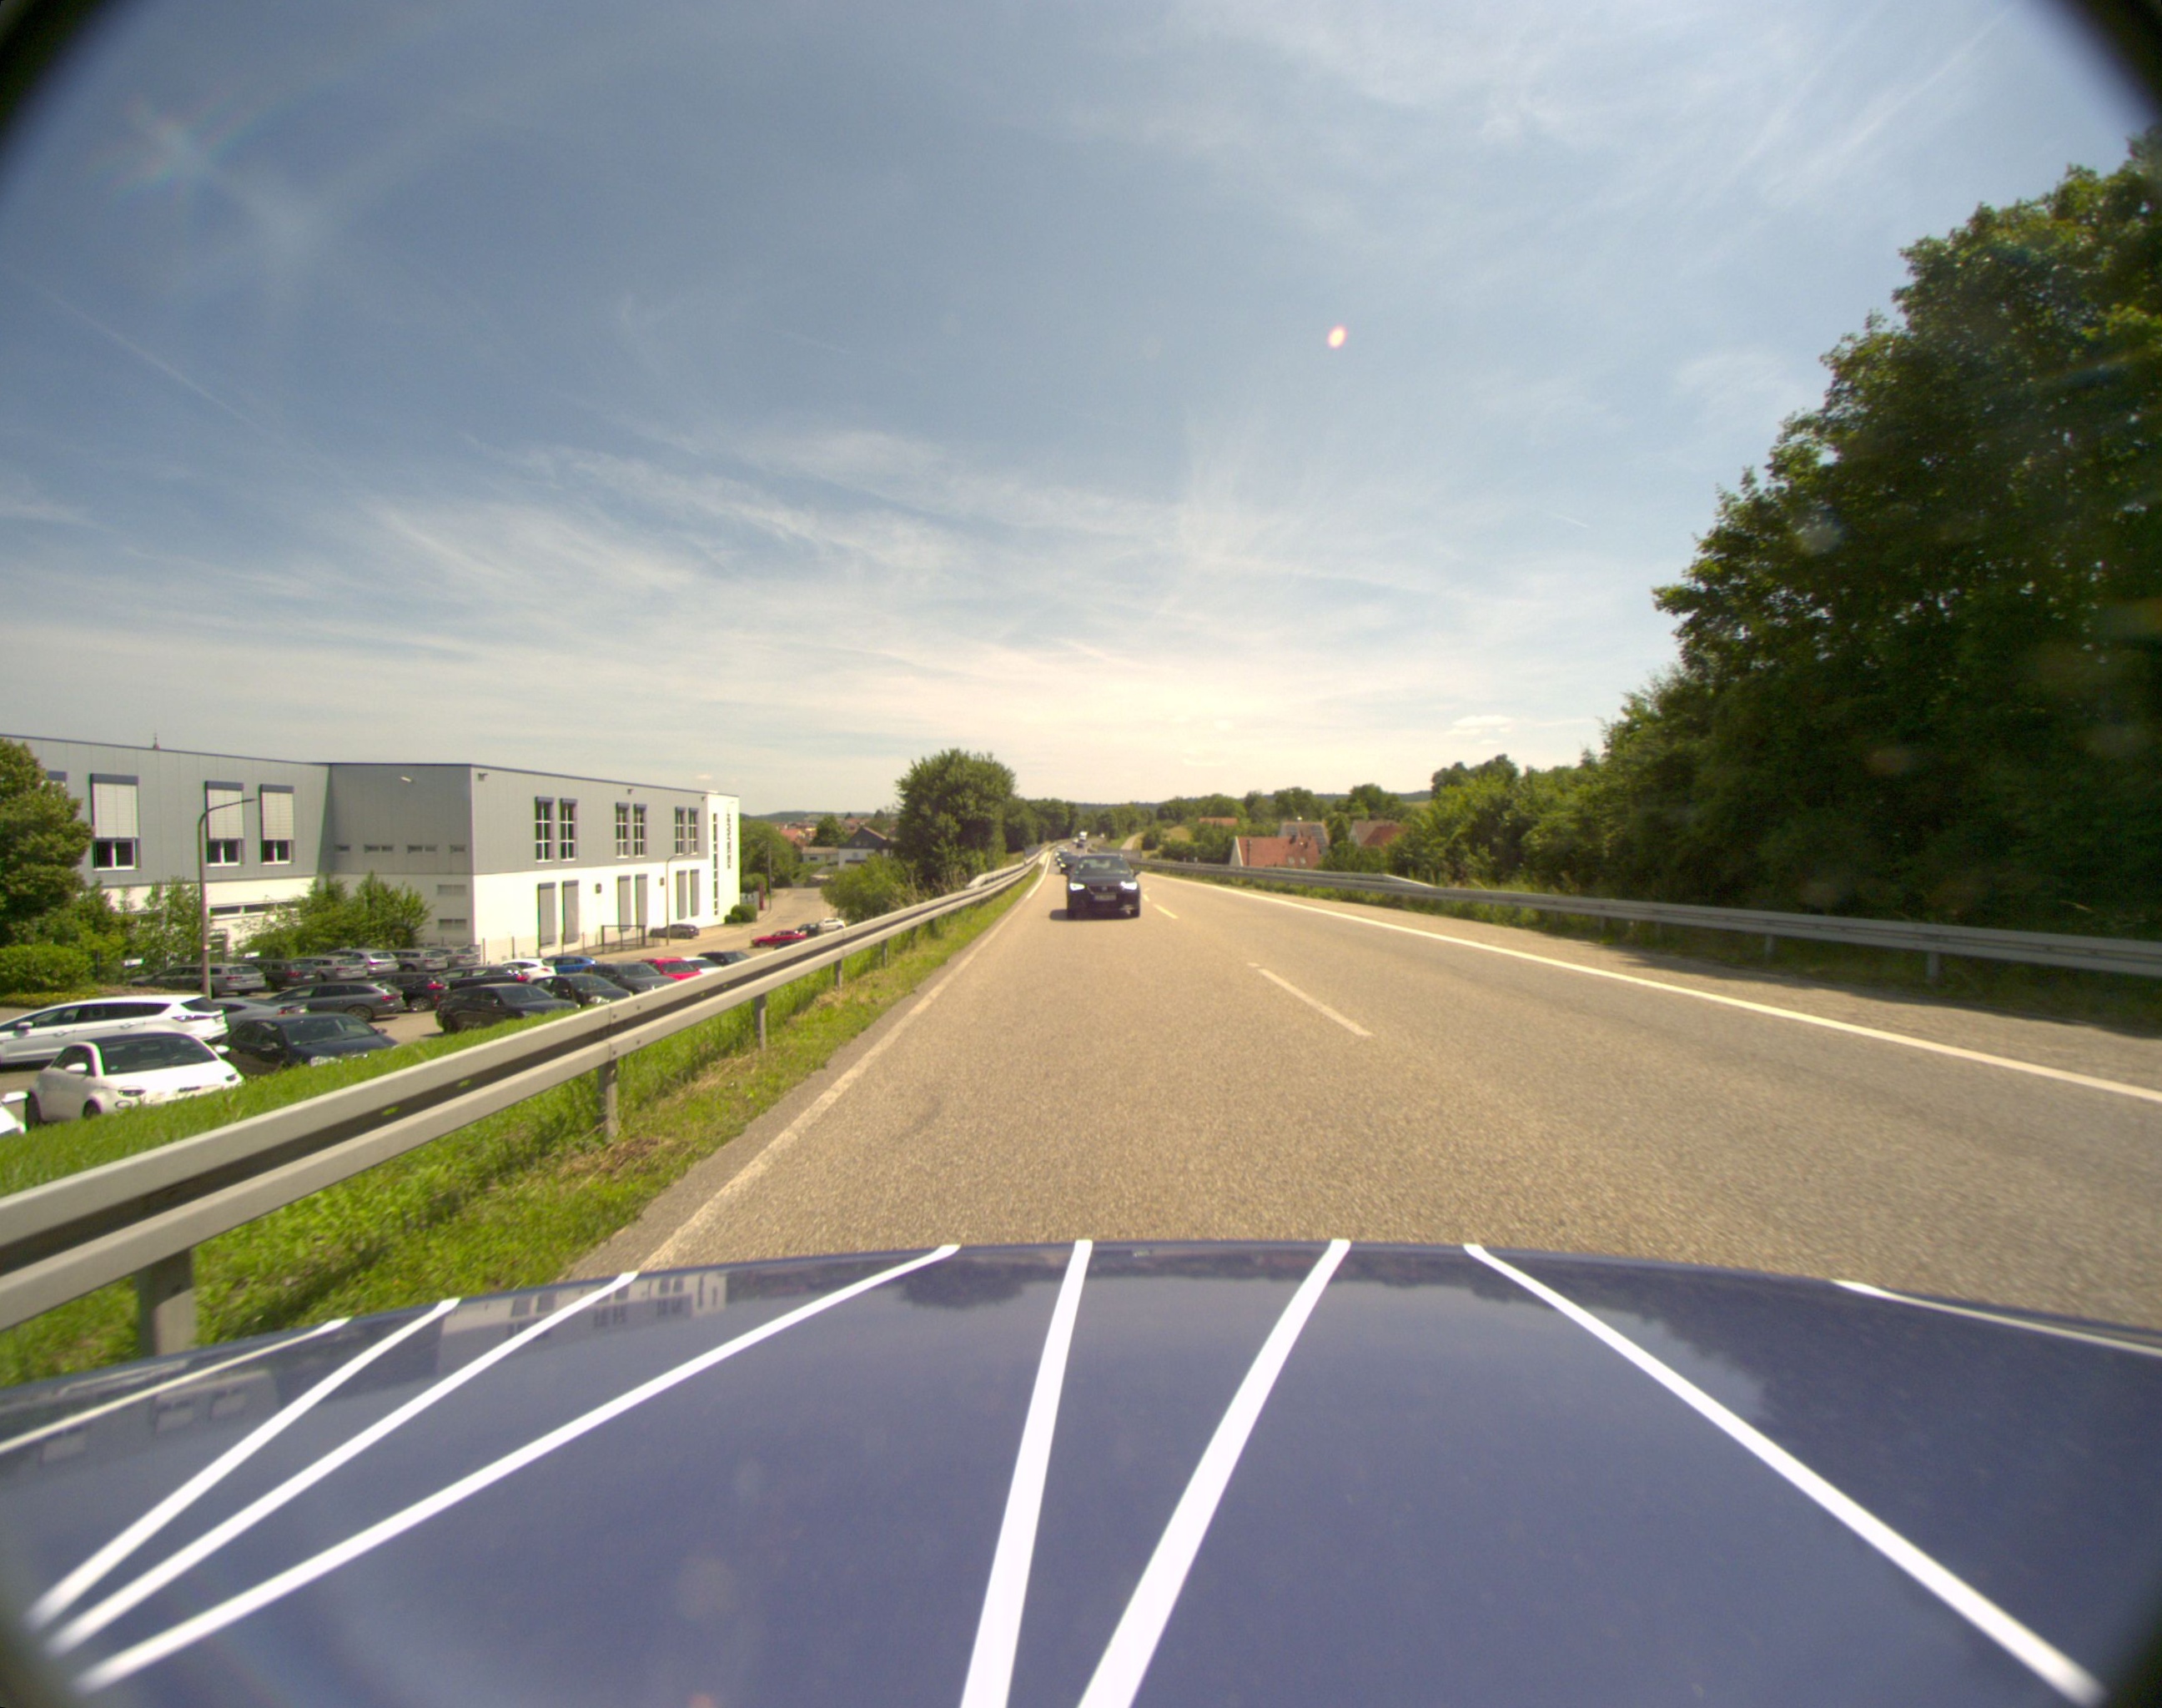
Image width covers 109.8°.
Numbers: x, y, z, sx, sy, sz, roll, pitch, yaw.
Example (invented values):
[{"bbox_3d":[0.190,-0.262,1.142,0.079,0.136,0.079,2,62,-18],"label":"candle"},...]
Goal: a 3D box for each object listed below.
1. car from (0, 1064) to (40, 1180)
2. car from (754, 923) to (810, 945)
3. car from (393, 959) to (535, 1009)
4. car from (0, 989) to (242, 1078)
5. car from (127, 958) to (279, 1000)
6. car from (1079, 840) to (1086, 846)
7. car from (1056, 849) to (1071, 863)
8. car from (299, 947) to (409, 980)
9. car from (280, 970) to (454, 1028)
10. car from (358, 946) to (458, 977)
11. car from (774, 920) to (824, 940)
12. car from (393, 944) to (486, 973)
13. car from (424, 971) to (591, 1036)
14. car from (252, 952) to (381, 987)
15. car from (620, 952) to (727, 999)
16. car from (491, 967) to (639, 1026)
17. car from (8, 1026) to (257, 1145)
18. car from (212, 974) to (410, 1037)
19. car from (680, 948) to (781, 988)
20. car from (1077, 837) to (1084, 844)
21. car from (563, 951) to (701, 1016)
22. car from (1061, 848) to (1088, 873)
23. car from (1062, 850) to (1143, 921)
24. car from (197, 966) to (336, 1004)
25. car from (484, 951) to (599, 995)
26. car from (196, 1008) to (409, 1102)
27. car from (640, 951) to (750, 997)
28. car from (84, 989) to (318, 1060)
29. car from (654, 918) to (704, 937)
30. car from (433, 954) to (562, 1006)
[{"bbox_3d":[-16.526,3.827,10.494,4.368,1.386,1.822,-6,-2,27],"label":"car"},{"bbox_3d":[-26.755,7.137,68.026,4.417,1.436,1.787,-4,-2,-31],"label":"car"},{"bbox_3d":[-25.652,5.382,31.809,4.418,1.531,1.787,0,-4,-31],"label":"car"},{"bbox_3d":[-25.348,4.600,19.641,4.595,1.649,1.787,0,-4,-33],"label":"car"},{"bbox_3d":[-39.568,5.612,34.336,4.584,1.562,1.821,-1,-2,-3],"label":"car"},{"bbox_3d":[0.419,-2.906,202.321,1.870,1.602,4.371,1,1,-2],"label":"car"},{"bbox_3d":[-2.266,0.320,100.261,1.879,1.637,4.001,2,-3,-1],"label":"car"},{"bbox_3d":[-39.898,6.001,41.790,4.048,1.562,1.912,1,-2,-3],"label":"car"},{"bbox_3d":[-26.241,5.296,28.167,4.418,1.526,1.787,0,-4,-31],"label":"car"},{"bbox_3d":[-39.447,6.284,44.632,4.048,1.562,1.912,1,-2,-3],"label":"car"},{"bbox_3d":[-28.243,7.591,76.119,4.417,1.436,1.787,-4,-2,-31],"label":"car"},{"bbox_3d":[-39.683,6.433,47.089,4.048,1.562,1.912,1,-2,-3],"label":"car"},{"bbox_3d":[-17.064,4.445,22.581,4.715,1.479,1.917,-6,-2,26],"label":"car"},{"bbox_3d":[-39.423,5.952,39.266,4.584,1.562,1.821,1,-2,-3],"label":"car"},{"bbox_3d":[-16.852,5.013,31.395,4.401,1.549,1.989,-7,-2,34],"label":"car"},{"bbox_3d":[-17.521,4.845,25.788,4.715,1.554,1.964,-6,-2,26],"label":"car"},{"bbox_3d":[-16.799,3.987,13.449,4.117,1.509,1.682,-6,-2,23],"label":"car"},{"bbox_3d":[-25.604,5.010,25.544,4.420,1.500,1.787,0,-5,-36],"label":"car"},{"bbox_3d":[-17.133,5.580,37.141,4.402,1.533,1.793,-6,-2,21],"label":"car"},{"bbox_3d":[-0.253,-4.433,248.149,1.978,2.002,4.000,4,0,1],"label":"car"},{"bbox_3d":[-16.956,4.897,28.677,4.715,2.001,2.083,-6,-2,26],"label":"car"},{"bbox_3d":[-0.497,0.493,55.569,1.879,1.637,4.001,2,-3,-1],"label":"car"},{"bbox_3d":[0.432,0.704,19.119,1.738,1.468,3.997,1,2,-2],"label":"car"},{"bbox_3d":[-39.359,6.314,36.806,4.584,1.562,1.821,1,-2,-3],"label":"car"},{"bbox_3d":[-26.467,5.822,37.454,4.417,1.436,1.787,-4,-2,-31],"label":"car"},{"bbox_3d":[-16.783,4.267,16.365,4.368,1.481,1.714,-6,-2,23],"label":"car"},{"bbox_3d":[-17.602,5.468,34.644,4.402,1.652,1.902,-6,-2,21],"label":"car"},{"bbox_3d":[-25.770,4.960,22.495,4.167,1.369,1.787,0,-4,-33],"label":"car"},{"bbox_3d":[-40.970,7.459,77.516,4.049,1.562,1.912,4,-2,-3],"label":"car"},{"bbox_3d":[-26.537,5.708,34.764,4.417,1.594,1.787,-4,-2,-31],"label":"car"}]
